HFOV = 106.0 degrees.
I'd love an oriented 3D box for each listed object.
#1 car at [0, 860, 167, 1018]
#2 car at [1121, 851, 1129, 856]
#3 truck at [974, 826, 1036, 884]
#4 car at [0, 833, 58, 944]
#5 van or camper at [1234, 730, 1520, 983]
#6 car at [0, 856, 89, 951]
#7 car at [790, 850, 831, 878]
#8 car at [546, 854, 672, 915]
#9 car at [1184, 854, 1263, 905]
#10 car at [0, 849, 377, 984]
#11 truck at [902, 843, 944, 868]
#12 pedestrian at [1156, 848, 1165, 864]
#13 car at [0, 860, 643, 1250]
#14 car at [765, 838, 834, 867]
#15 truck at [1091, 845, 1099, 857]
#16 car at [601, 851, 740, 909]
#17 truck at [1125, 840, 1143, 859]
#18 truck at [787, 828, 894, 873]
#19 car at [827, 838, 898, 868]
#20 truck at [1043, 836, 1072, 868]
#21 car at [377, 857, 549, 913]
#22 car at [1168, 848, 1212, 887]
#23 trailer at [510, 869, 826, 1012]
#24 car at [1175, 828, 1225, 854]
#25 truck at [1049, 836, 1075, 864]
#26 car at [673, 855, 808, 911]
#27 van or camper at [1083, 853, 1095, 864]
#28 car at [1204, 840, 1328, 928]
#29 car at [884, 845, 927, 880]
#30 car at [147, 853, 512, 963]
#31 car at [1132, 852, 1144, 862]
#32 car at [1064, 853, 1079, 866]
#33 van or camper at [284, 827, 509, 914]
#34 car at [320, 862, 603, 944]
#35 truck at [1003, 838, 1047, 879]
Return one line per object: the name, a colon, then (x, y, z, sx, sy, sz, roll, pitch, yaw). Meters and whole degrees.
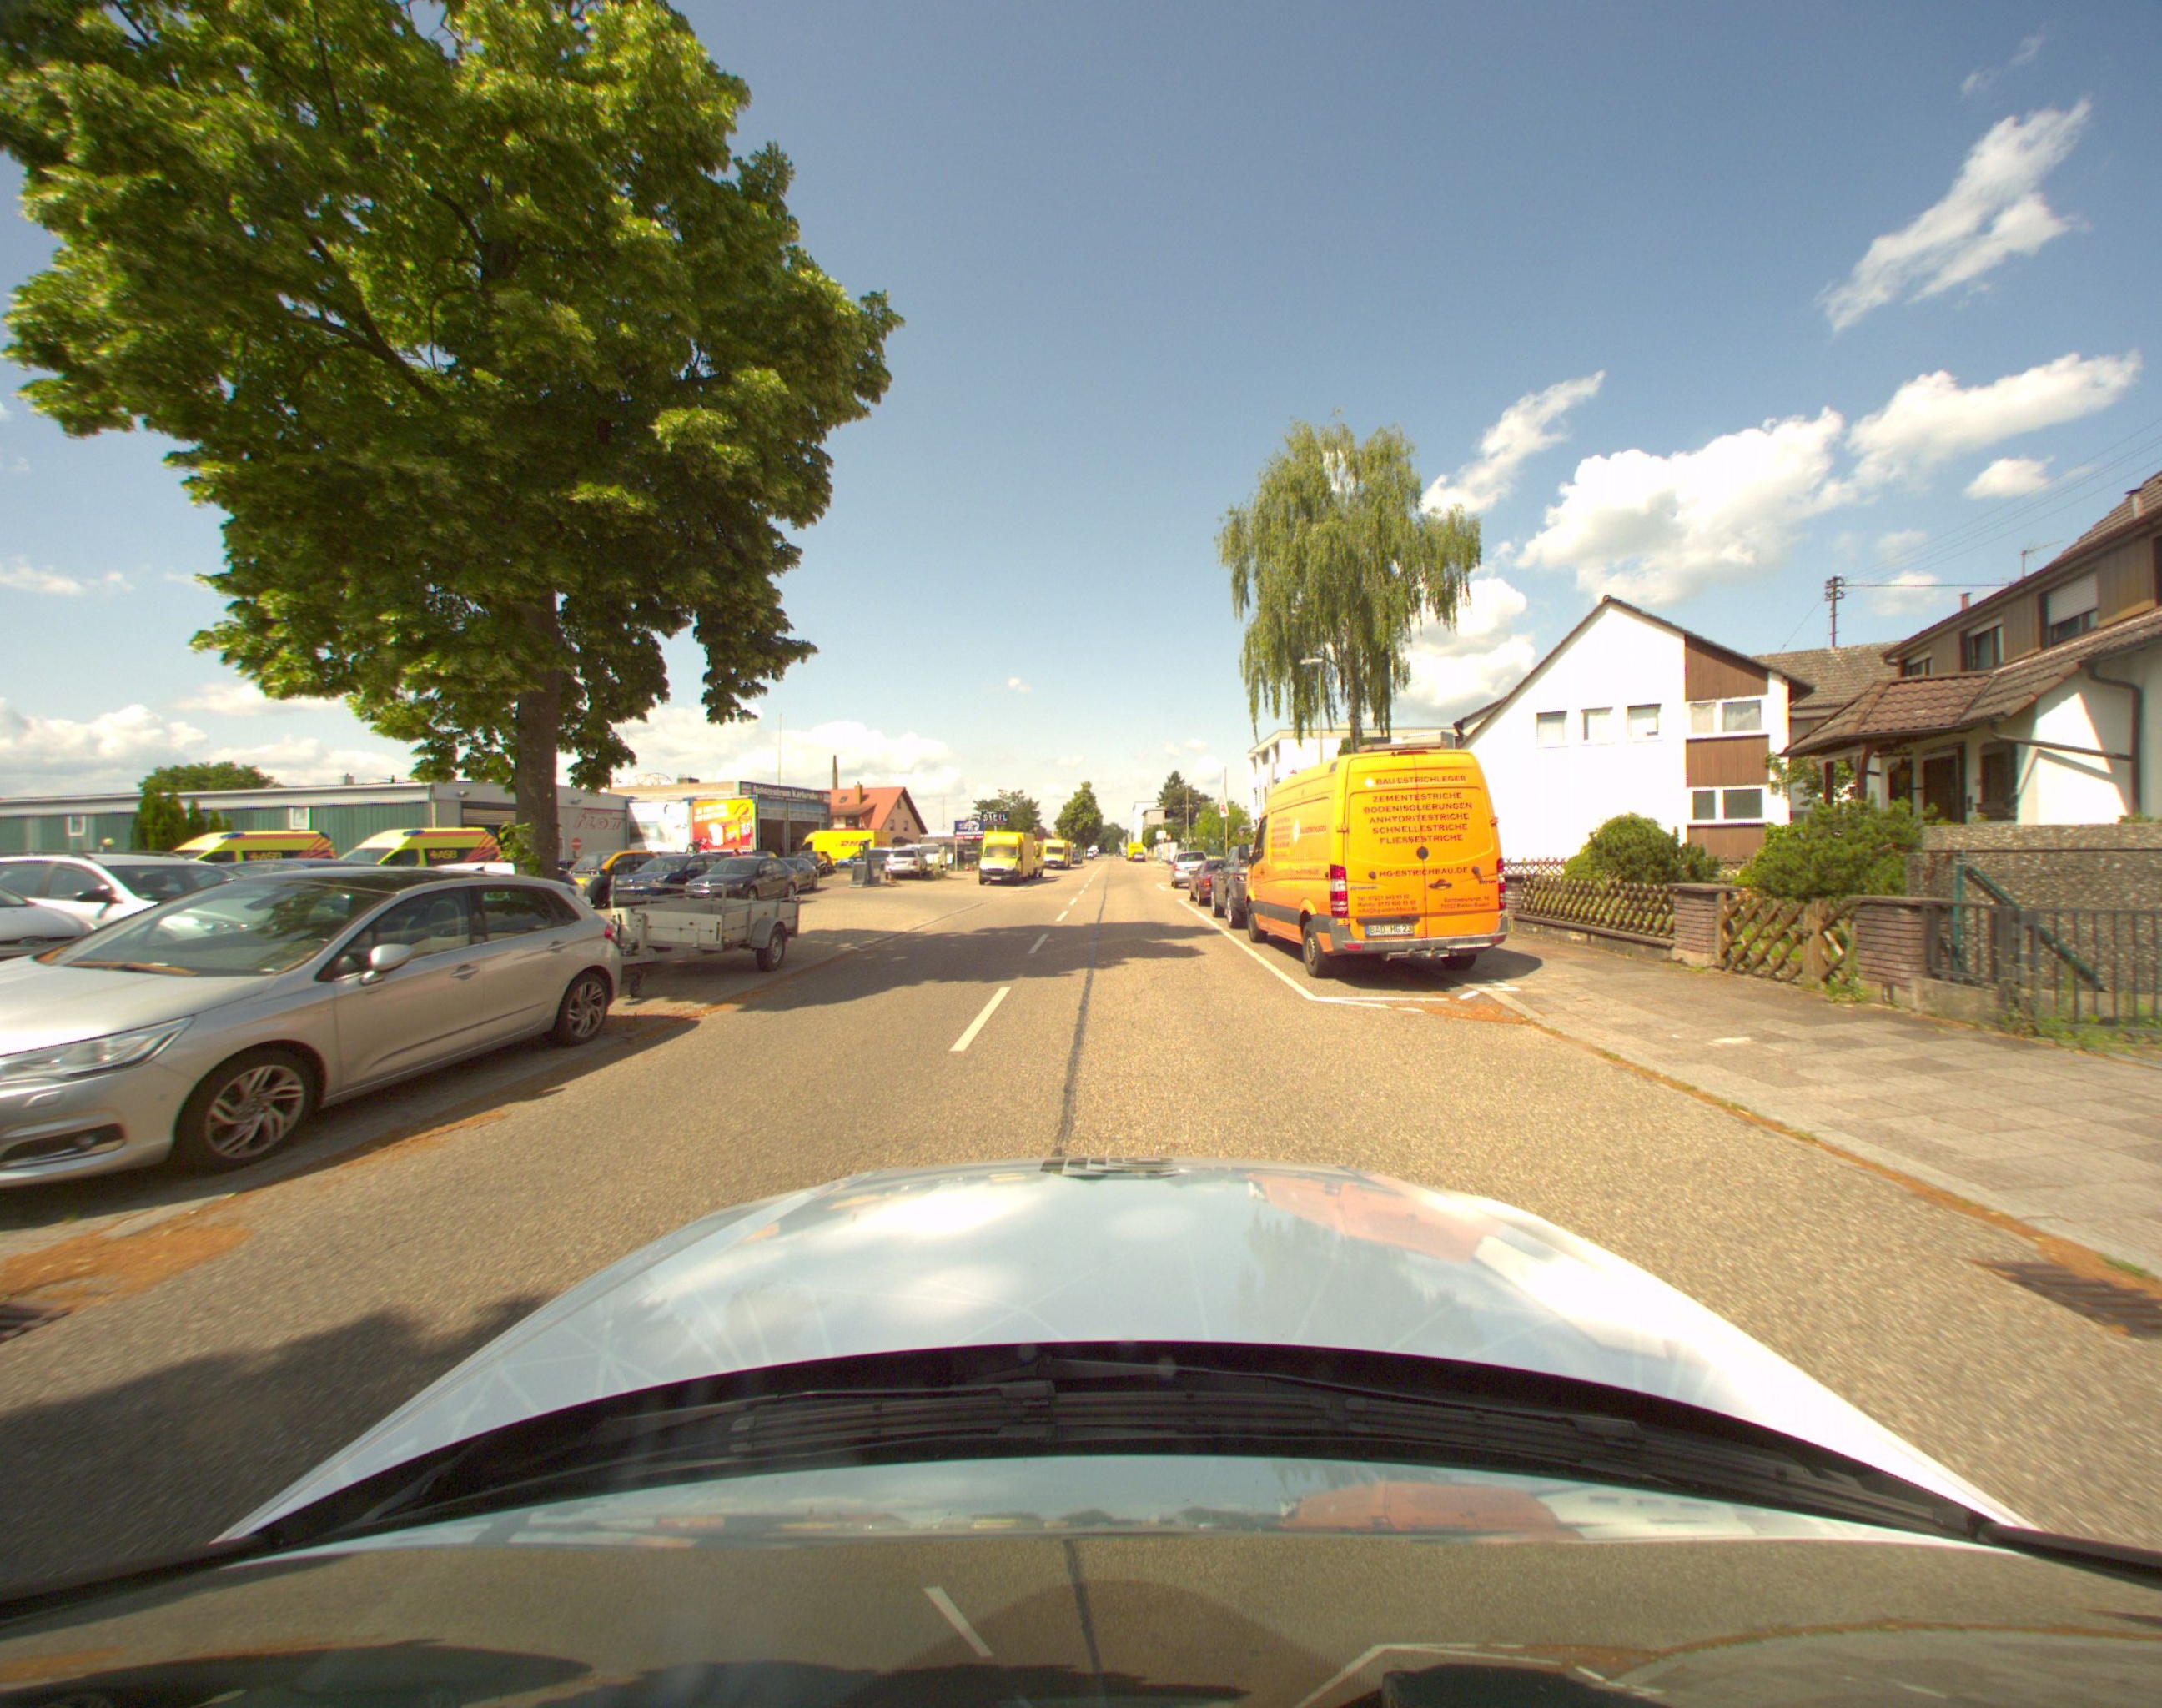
car: (-11.827, 0.820, 7.869, 4.125, 1.431, 1.829, -1, -1, 4)
car: (11.830, -0.126, 220.149, 1.921, 1.310, 4.002, -1, 0, 2)
truck: (-3.978, 0.018, 44.229, 2.210, 2.857, 7.077, 1, 0, 4)
car: (-17.619, 0.551, 11.225, 1.700, 1.696, 4.011, -1, 0, 10)
van or camper: (3.702, 0.012, 11.581, 1.987, 2.664, 5.769, -1, 0, 0)
car: (-19.690, 0.887, 13.332, 1.700, 1.638, 4.011, -1, 0, 10)
car: (-15.531, 0.560, 46.922, 1.670, 1.287, 3.995, -1, 4, -10)
car: (-14.005, 0.845, 24.372, 1.434, 1.655, 3.310, -1, 0, 10)
car: (4.073, 0.677, 23.897, 1.663, 1.335, 4.440, -1, 0, 2)
car: (-11.653, 0.739, 10.243, 4.125, 1.490, 1.829, -1, -1, 4)
truck: (-16.919, 0.133, 87.482, 2.095, 2.487, 5.744, -1, 0, 16)
pedestrian: (8.744, 0.222, 89.870, 0.714, 1.697, 0.522, -6, 0, -3)
car: (-5.176, 0.859, 5.565, 1.825, 1.528, 4.242, 1, 0, 4)
car: (-18.117, -0.097, 52.533, 3.816, 1.731, 1.738, -1, 0, 13)
truck: (3.953, -0.892, 232.377, 2.021, 3.154, 6.504, -1, 0, 2)
car: (-11.990, 0.687, 24.129, 1.746, 1.533, 4.261, -1, 0, 3)
truck: (8.241, -0.727, 127.514, 2.465, 2.940, 7.190, 0, 0, 1)
truck: (-16.456, -0.226, 55.748, 6.549, 2.850, 2.539, -1, 0, 14)
car: (-13.872, -0.064, 51.867, 3.902, 1.810, 1.861, 1, 1, 12)
truck: (-2.182, -0.148, 77.748, 2.260, 2.855, 7.176, 0, 0, 2)
car: (-18.924, 0.892, 25.196, 1.744, 1.533, 4.174, 0, 1, 8)
car: (4.665, 0.525, 35.292, 1.603, 1.580, 4.004, 0, 0, 4)
trailer: (-4.944, 0.933, 10.616, 1.756, 1.289, 4.507, 2, 0, 0)
car: (12.854, -1.418, 88.155, 4.900, 2.652, 2.069, -1, 0, -6)
truck: (-1.940, -0.453, 87.314, 2.307, 2.862, 7.108, 2, 0, 2)
car: (-9.721, 0.762, 23.708, 1.746, 1.410, 4.588, -1, 0, 3)
van or camper: (1.825, 1.097, 187.561, 2.163, 2.413, 7.709, -1, 0, 5)
car: (3.793, 0.556, 17.426, 1.825, 1.640, 4.242, -1, 0, 2)
car: (-9.849, 0.418, 46.034, 1.826, 1.705, 4.698, -1, 2, -6)
car: (-11.335, 0.784, 12.464, 4.007, 1.490, 1.829, -1, -1, 4)
car: (8.060, 0.429, 115.877, 1.645, 1.386, 4.426, 0, 1, 2)
car: (-1.216, 0.671, 105.154, 1.718, 1.604, 4.414, 2, 0, 0)
van or camper: (-21.377, 0.419, 25.858, 1.981, 2.475, 5.377, -1, 1, 10)
car: (-11.392, 0.863, 15.131, 4.005, 1.374, 1.831, 0, 0, 7)
truck: (-3.461, 0.261, 51.787, 1.985, 2.413, 6.070, -1, 0, 4)
